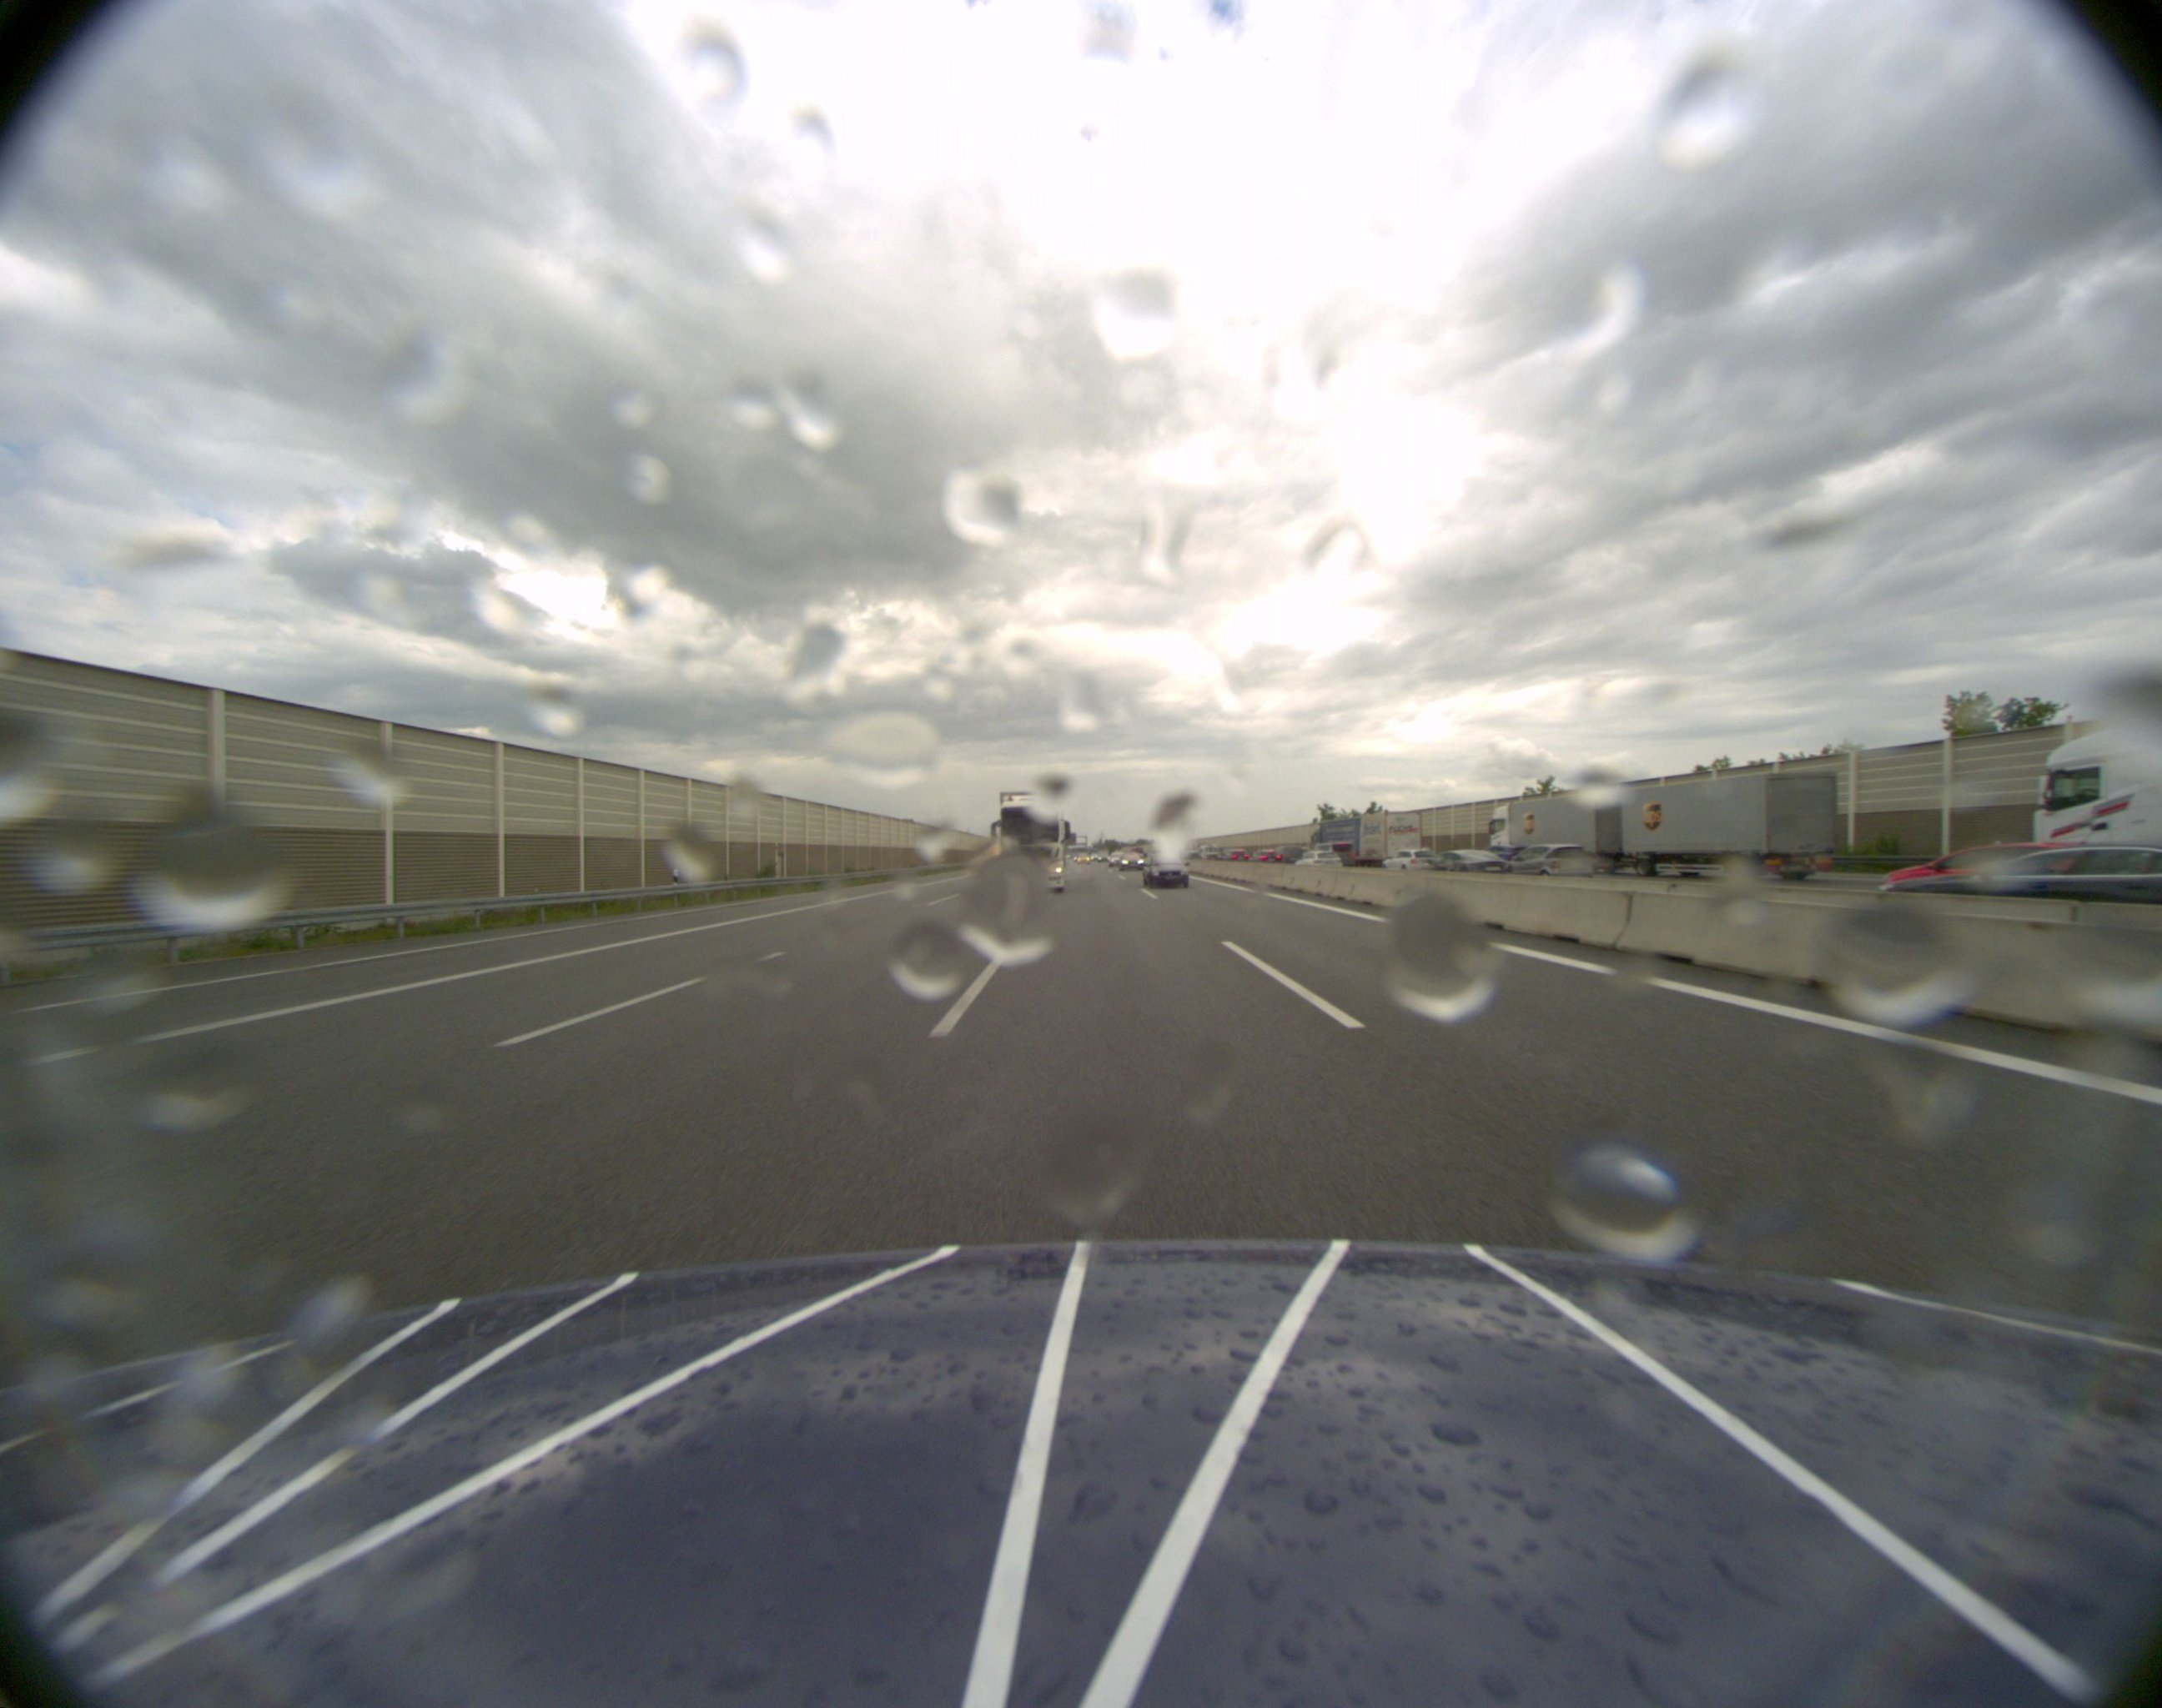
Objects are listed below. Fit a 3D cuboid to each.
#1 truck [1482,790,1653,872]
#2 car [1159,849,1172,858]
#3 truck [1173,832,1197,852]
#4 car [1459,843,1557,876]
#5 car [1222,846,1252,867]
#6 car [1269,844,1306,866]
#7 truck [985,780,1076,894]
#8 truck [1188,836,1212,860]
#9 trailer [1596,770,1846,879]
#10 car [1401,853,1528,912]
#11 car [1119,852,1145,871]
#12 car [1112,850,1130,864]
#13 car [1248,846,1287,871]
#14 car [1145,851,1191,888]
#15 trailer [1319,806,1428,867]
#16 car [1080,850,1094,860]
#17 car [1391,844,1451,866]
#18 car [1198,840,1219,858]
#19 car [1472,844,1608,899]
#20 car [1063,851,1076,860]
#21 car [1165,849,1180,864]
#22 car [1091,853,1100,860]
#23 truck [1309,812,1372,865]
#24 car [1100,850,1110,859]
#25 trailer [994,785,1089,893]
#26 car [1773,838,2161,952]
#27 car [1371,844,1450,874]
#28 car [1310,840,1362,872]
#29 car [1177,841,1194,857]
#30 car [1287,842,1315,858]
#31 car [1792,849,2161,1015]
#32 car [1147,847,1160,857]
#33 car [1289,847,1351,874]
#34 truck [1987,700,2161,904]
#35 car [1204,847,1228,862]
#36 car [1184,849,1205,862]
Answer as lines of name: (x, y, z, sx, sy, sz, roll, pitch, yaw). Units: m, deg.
truck: (26.169, -1.139, 41.779, 2.693, 3.876, 10.499, -1, 0, 0)
car: (14.824, -0.083, 133.140, 1.641, 1.496, 4.362, -1, 0, -2)
truck: (26.104, -2.884, 192.428, 3.448, 4.829, 17.226, -1, 0, -1)
car: (22.588, 0.253, 40.536, 2.066, 1.591, 5.807, -1, 0, 1)
car: (15.341, 0.219, 74.936, 1.924, 1.880, 5.426, -1, 0, 1)
car: (18.510, 0.070, 68.393, 1.938, 1.886, 5.432, -1, 0, 1)
truck: (-1.888, -0.654, 30.976, 2.912, 4.146, 5.193, -2, 1, 3)
truck: (25.553, -1.289, 163.933, 3.225, 4.829, 11.696, -1, 0, -1)
trailer: (26.089, -1.091, 31.870, 2.728, 3.849, 9.283, -1, 0, 0)
car: (14.712, 1.007, 29.603, 2.066, 1.991, 5.807, -1, 0, 1)
car: (4.095, 0.593, 61.709, 1.776, 1.451, 4.479, -1, 1, 0)
car: (4.093, 0.308, 79.078, 1.732, 1.395, 4.000, -1, 1, 2)
car: (15.042, 0.341, 61.574, 1.938, 1.886, 5.432, -1, 0, 1)
car: (3.614, 0.603, 32.119, 1.578, 1.395, 4.000, -1, 1, 2)
trailer: (22.206, -1.219, 59.026, 3.066, 4.136, 14.315, -1, 0, 1)
car: (0.850, 0.121, 103.070, 1.732, 1.395, 4.000, -1, 1, 2)
car: (26.008, 0.077, 58.404, 2.066, 1.591, 5.807, -1, 0, 1)
car: (18.593, -0.710, 110.768, 2.031, 2.459, 5.148, -1, 0, -2)
car: (18.390, 0.631, 30.891, 2.066, 1.991, 5.807, -1, 0, 1)
car: (-1.693, 0.191, 110.801, 1.776, 1.248, 4.479, -1, 1, 0)
car: (17.942, 0.503, 149.792, 2.133, 2.733, 4.931, -1, 0, -2)
car: (2.771, 0.456, 146.159, 1.498, 1.395, 3.999, -1, 1, 0)
truck: (22.266, -1.270, 65.503, 3.078, 4.220, 6.692, -1, 0, 0)
car: (3.843, 0.106, 121.238, 1.498, 1.395, 4.000, -1, 1, 2)
trailer: (-1.514, -0.682, 36.855, 2.925, 4.188, 13.198, -2, 1, 4)
car: (18.711, 0.720, 16.499, 2.066, 1.991, 5.807, -1, 0, 0)
car: (18.864, 0.267, 43.828, 2.066, 1.591, 5.807, -1, 0, 1)
car: (18.448, 0.124, 55.242, 2.066, 2.146, 5.432, -1, 0, 1)
car: (18.779, -0.908, 136.646, 2.133, 2.733, 4.931, -1, 0, -2)
car: (26.512, -0.442, 91.651, 1.812, 1.808, 4.977, -1, 0, -2)
car: (14.247, 0.947, 11.216, 2.066, 1.991, 5.807, -1, 0, 0)
car: (13.866, -0.398, 145.752, 1.947, 1.924, 4.932, -1, 0, -1)
car: (14.687, 0.376, 47.116, 2.066, 1.555, 5.807, -1, 0, 1)
truck: (22.186, -1.018, 11.918, 2.945, 3.922, 11.066, -1, 0, 1)
car: (15.321, 0.052, 86.455, 1.817, 1.622, 4.208, -1, 0, -1)
car: (14.843, 0.184, 99.810, 1.925, 1.622, 4.695, -1, 0, -2)
